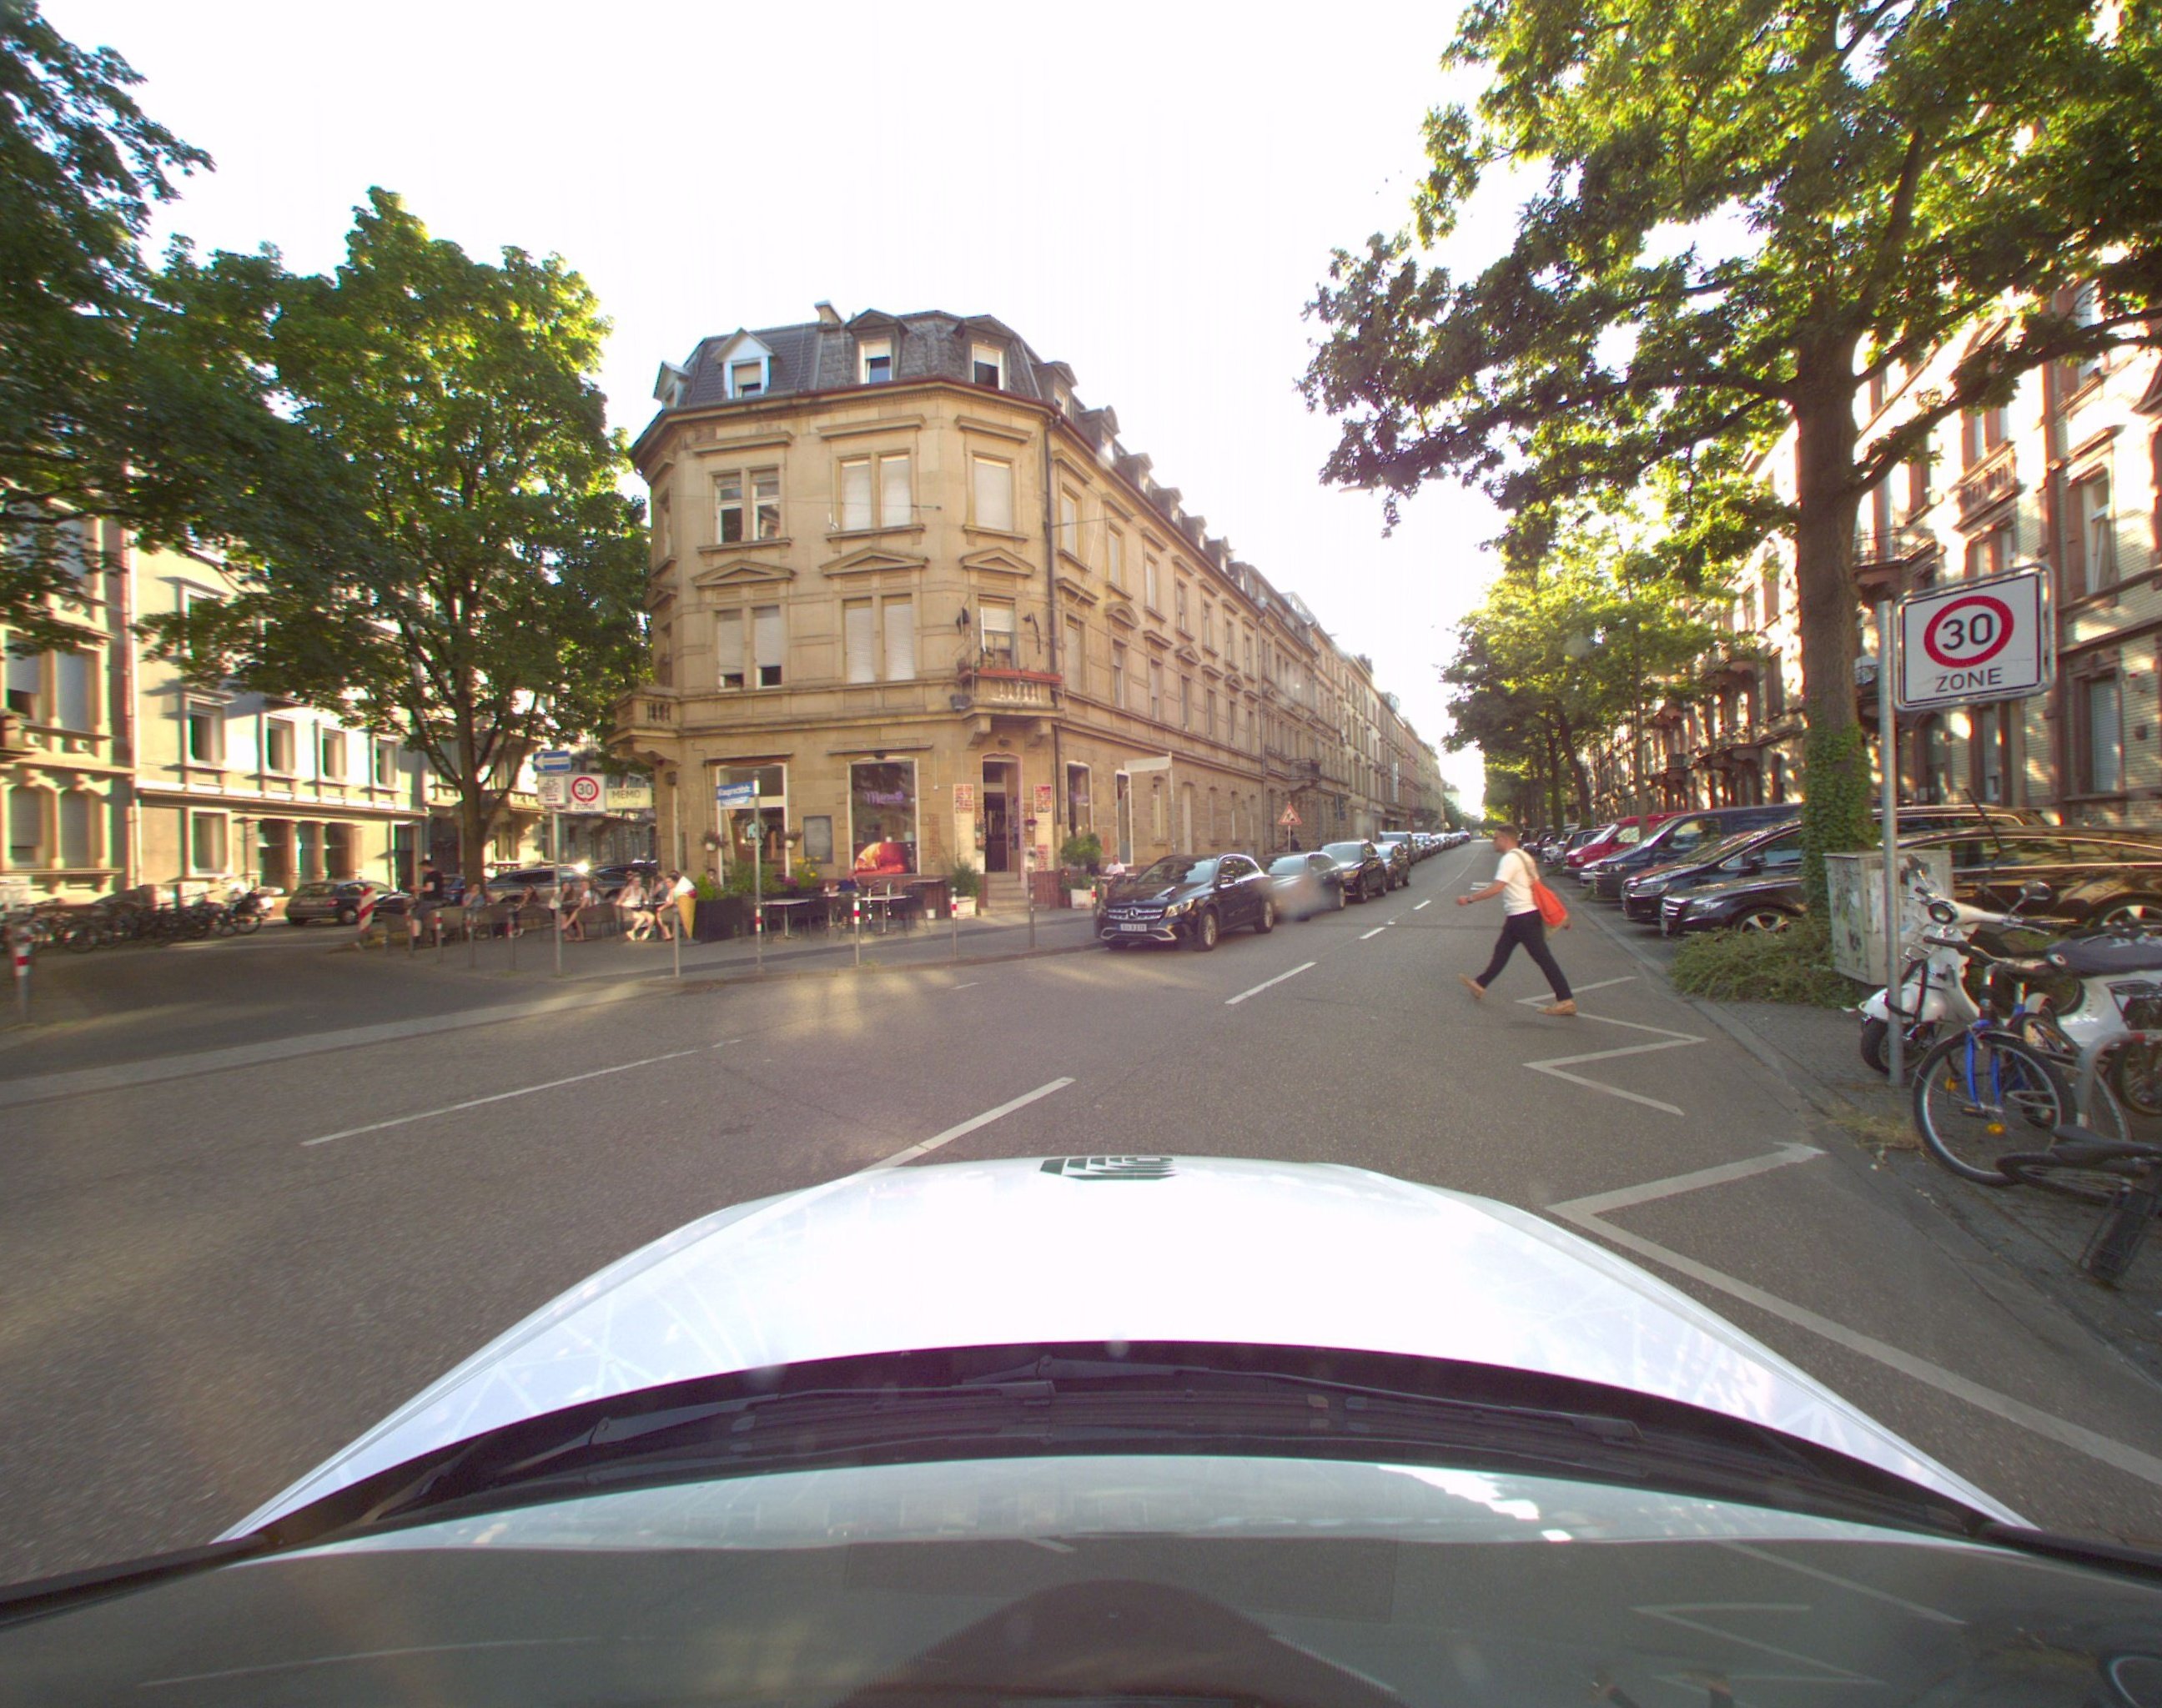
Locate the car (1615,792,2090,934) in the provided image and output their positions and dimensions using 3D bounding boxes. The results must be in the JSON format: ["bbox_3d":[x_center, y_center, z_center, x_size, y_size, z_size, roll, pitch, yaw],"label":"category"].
[{"bbox_3d":[10.572,0.211,11.789,4.641,1.679,1.863,-4,-1,33],"label":"car"}]

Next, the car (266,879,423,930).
[{"bbox_3d":[-23.757,1.581,26.471,1.921,1.376,3.743,-2,0,-7],"label":"car"}]

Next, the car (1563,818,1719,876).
[{"bbox_3d":[18.864,-0.210,27.694,4.146,1.628,1.849,-4,-1,30],"label":"car"}]

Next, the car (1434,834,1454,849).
[{"bbox_3d":[38.606,-1.328,86.599,1.742,1.473,4.083,-3,0,26],"label":"car"}]

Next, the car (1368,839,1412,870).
[{"bbox_3d":[15.908,0.016,41.792,1.577,1.475,3.722,0,1,29],"label":"car"}]

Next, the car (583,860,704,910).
[{"bbox_3d":[-17.206,1.177,32.043,4.016,1.684,1.979,-2,0,-34],"label":"car"}]

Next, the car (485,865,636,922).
[{"bbox_3d":[-16.489,1.196,25.864,3.855,1.562,1.782,-2,0,-38],"label":"car"}]

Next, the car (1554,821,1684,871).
[{"bbox_3d":[21.049,-0.298,32.060,3.973,1.628,1.816,-4,-1,25],"label":"car"}]

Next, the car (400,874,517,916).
[{"bbox_3d":[-24.093,1.561,31.707,1.921,1.376,3.743,-2,0,-7],"label":"car"}]

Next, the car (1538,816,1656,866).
[{"bbox_3d":[24.383,-0.629,38.698,4.403,1.924,1.861,-5,0,24],"label":"car"}]

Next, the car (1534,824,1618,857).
[{"bbox_3d":[28.907,-0.764,47.702,3.973,1.607,1.744,-4,-1,27],"label":"car"}]

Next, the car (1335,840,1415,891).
[{"bbox_3d":[9.953,0.345,27.389,1.741,1.501,4.085,-3,0,30],"label":"car"}]

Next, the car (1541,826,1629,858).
[{"bbox_3d":[28.000,-0.652,45.405,3.973,1.467,1.744,-4,-1,27],"label":"car"}]

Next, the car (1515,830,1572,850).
[{"bbox_3d":[37.465,-1.127,66.040,3.815,1.293,1.728,-4,0,24],"label":"car"}]

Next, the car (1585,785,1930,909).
[{"bbox_3d":[13.253,-0.066,16.456,4.974,2.215,2.004,-2,0,26],"label":"car"}]

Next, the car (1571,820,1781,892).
[{"bbox_3d":[15.014,0.075,20.872,4.016,1.510,1.890,-4,-1,27],"label":"car"}]

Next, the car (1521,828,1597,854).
[{"bbox_3d":[32.164,-0.853,54.929,4.183,1.403,1.845,-4,0,22],"label":"car"}]

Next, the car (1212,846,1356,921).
[{"bbox_3d":[4.762,0.608,18.585,1.741,1.451,4.579,-3,-1,33],"label":"car"}]

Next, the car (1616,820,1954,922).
[{"bbox_3d":[11.756,0.308,14.007,4.067,1.534,1.735,-2,0,28],"label":"car"}]

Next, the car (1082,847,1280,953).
[{"bbox_3d":[1.878,0.685,13.963,1.741,1.488,4.165,-3,-1,31],"label":"car"}]

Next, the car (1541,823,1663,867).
[{"bbox_3d":[23.170,-0.385,36.427,4.303,1.556,1.861,-5,0,26],"label":"car"}]

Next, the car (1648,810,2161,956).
[{"bbox_3d":[9.649,0.369,9.510,4.739,1.413,1.863,-4,-1,29],"label":"car"}]

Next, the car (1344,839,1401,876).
[{"bbox_3d":[13.573,0.146,37.825,1.741,1.501,4.085,-3,0,29],"label":"car"}]

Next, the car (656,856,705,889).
[{"bbox_3d":[-27.516,1.235,56.096,1.805,2.085,3.743,-2,0,-7],"label":"car"}]

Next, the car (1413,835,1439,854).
[{"bbox_3d":[28.416,-0.809,66.966,1.742,1.473,4.083,-3,0,26],"label":"car"}]

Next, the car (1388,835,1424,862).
[{"bbox_3d":[20.898,-0.365,52.230,1.737,1.608,4.411,0,1,27],"label":"car"}]

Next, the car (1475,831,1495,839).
[{"bbox_3d":[92.112,-4.327,185.732,3.948,1.859,1.762,-1,1,35],"label":"car"}]

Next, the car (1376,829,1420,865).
[{"bbox_3d":[18.284,-0.426,46.866,1.815,1.943,5.292,0,1,27],"label":"car"}]

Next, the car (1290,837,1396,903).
[{"bbox_3d":[7.455,0.387,22.863,1.741,1.600,4.579,-3,0,31],"label":"car"}]

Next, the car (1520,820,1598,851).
[{"bbox_3d":[36.908,-1.417,63.086,5.009,1.925,1.846,-4,-1,27],"label":"car"}]

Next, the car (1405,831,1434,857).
[{"bbox_3d":[26.004,-0.818,62.523,1.742,1.842,4.557,-3,0,26],"label":"car"}]

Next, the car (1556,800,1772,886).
[{"bbox_3d":[16.417,-0.259,23.260,4.632,2.033,1.889,-4,-1,24],"label":"car"}]

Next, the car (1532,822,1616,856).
[{"bbox_3d":[30.255,-0.922,50.162,4.181,1.776,1.846,-4,-1,26],"label":"car"}]

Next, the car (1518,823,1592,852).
[{"bbox_3d":[34.838,-1.204,59.926,4.197,1.795,1.839,-4,0,7],"label":"car"}]

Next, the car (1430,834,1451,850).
[{"bbox_3d":[36.360,-1.273,82.359,1.742,1.473,4.083,-3,0,26],"label":"car"}]
